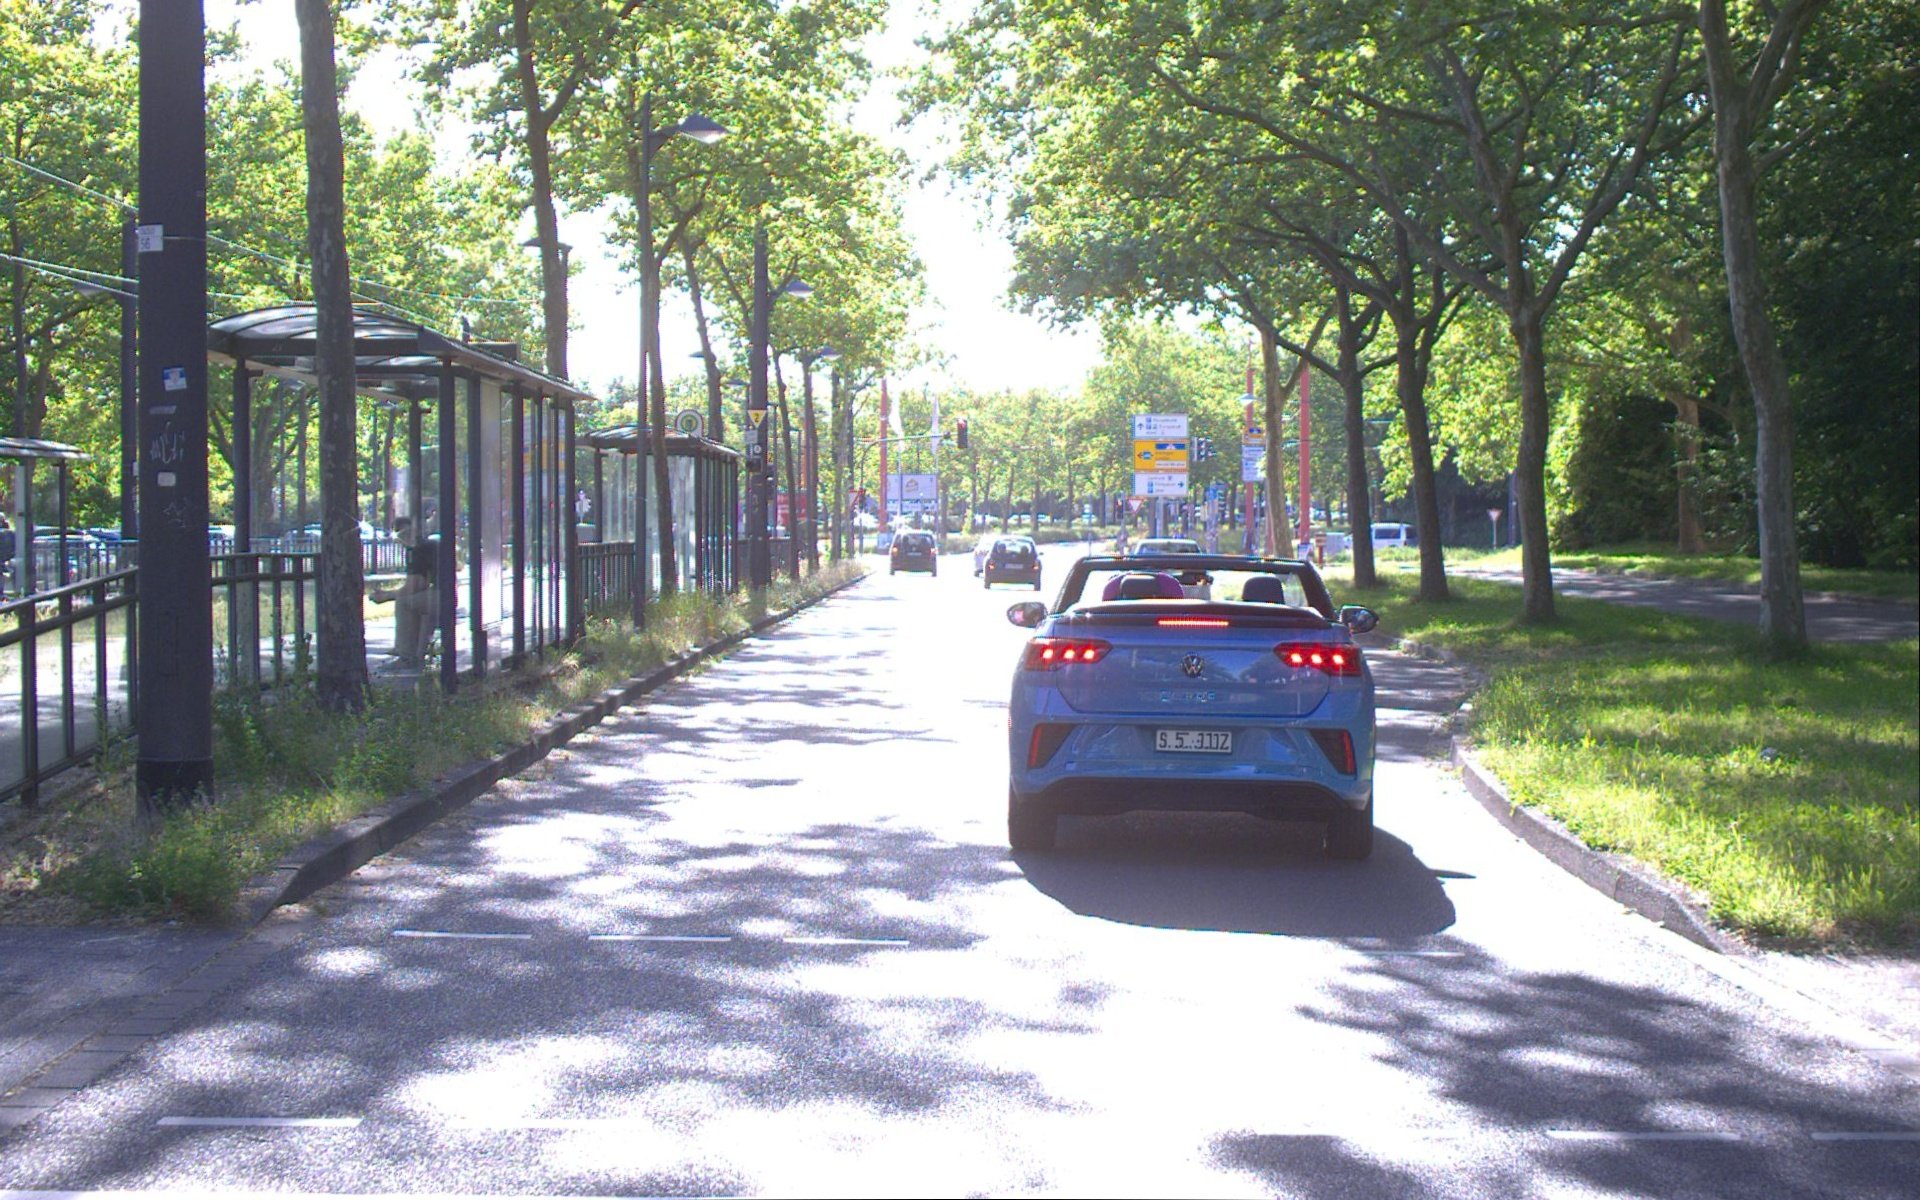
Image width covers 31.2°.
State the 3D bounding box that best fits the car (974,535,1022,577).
[{"bbox_3d":[1.373,-1.583,124.129,1.678,1.470,4.131,1,1,0],"label":"car"}]

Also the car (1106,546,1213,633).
[{"bbox_3d":[4.344,-0.249,75.535,1.981,1.786,4.614,2,1,-1],"label":"car"}]

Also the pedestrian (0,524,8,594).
[{"bbox_3d":[-15.754,-0.646,55.202,0.694,1.123,0.662,-3,0,0],"label":"pedestrian"}]

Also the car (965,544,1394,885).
[{"bbox_3d":[1.018,0.501,17.963,1.776,1.478,4.101,2,1,-2],"label":"car"}]

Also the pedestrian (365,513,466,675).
[{"bbox_3d":[-4.287,-0.053,27.111,0.733,1.248,0.588,1,1,-6],"label":"pedestrian"}]

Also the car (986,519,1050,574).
[{"bbox_3d":[1.655,-1.549,98.426,1.638,1.489,3.504,2,2,-1],"label":"car"}]

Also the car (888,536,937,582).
[{"bbox_3d":[-1.708,-1.474,123.000,1.710,1.598,3.350,1,1,-1],"label":"car"}]
